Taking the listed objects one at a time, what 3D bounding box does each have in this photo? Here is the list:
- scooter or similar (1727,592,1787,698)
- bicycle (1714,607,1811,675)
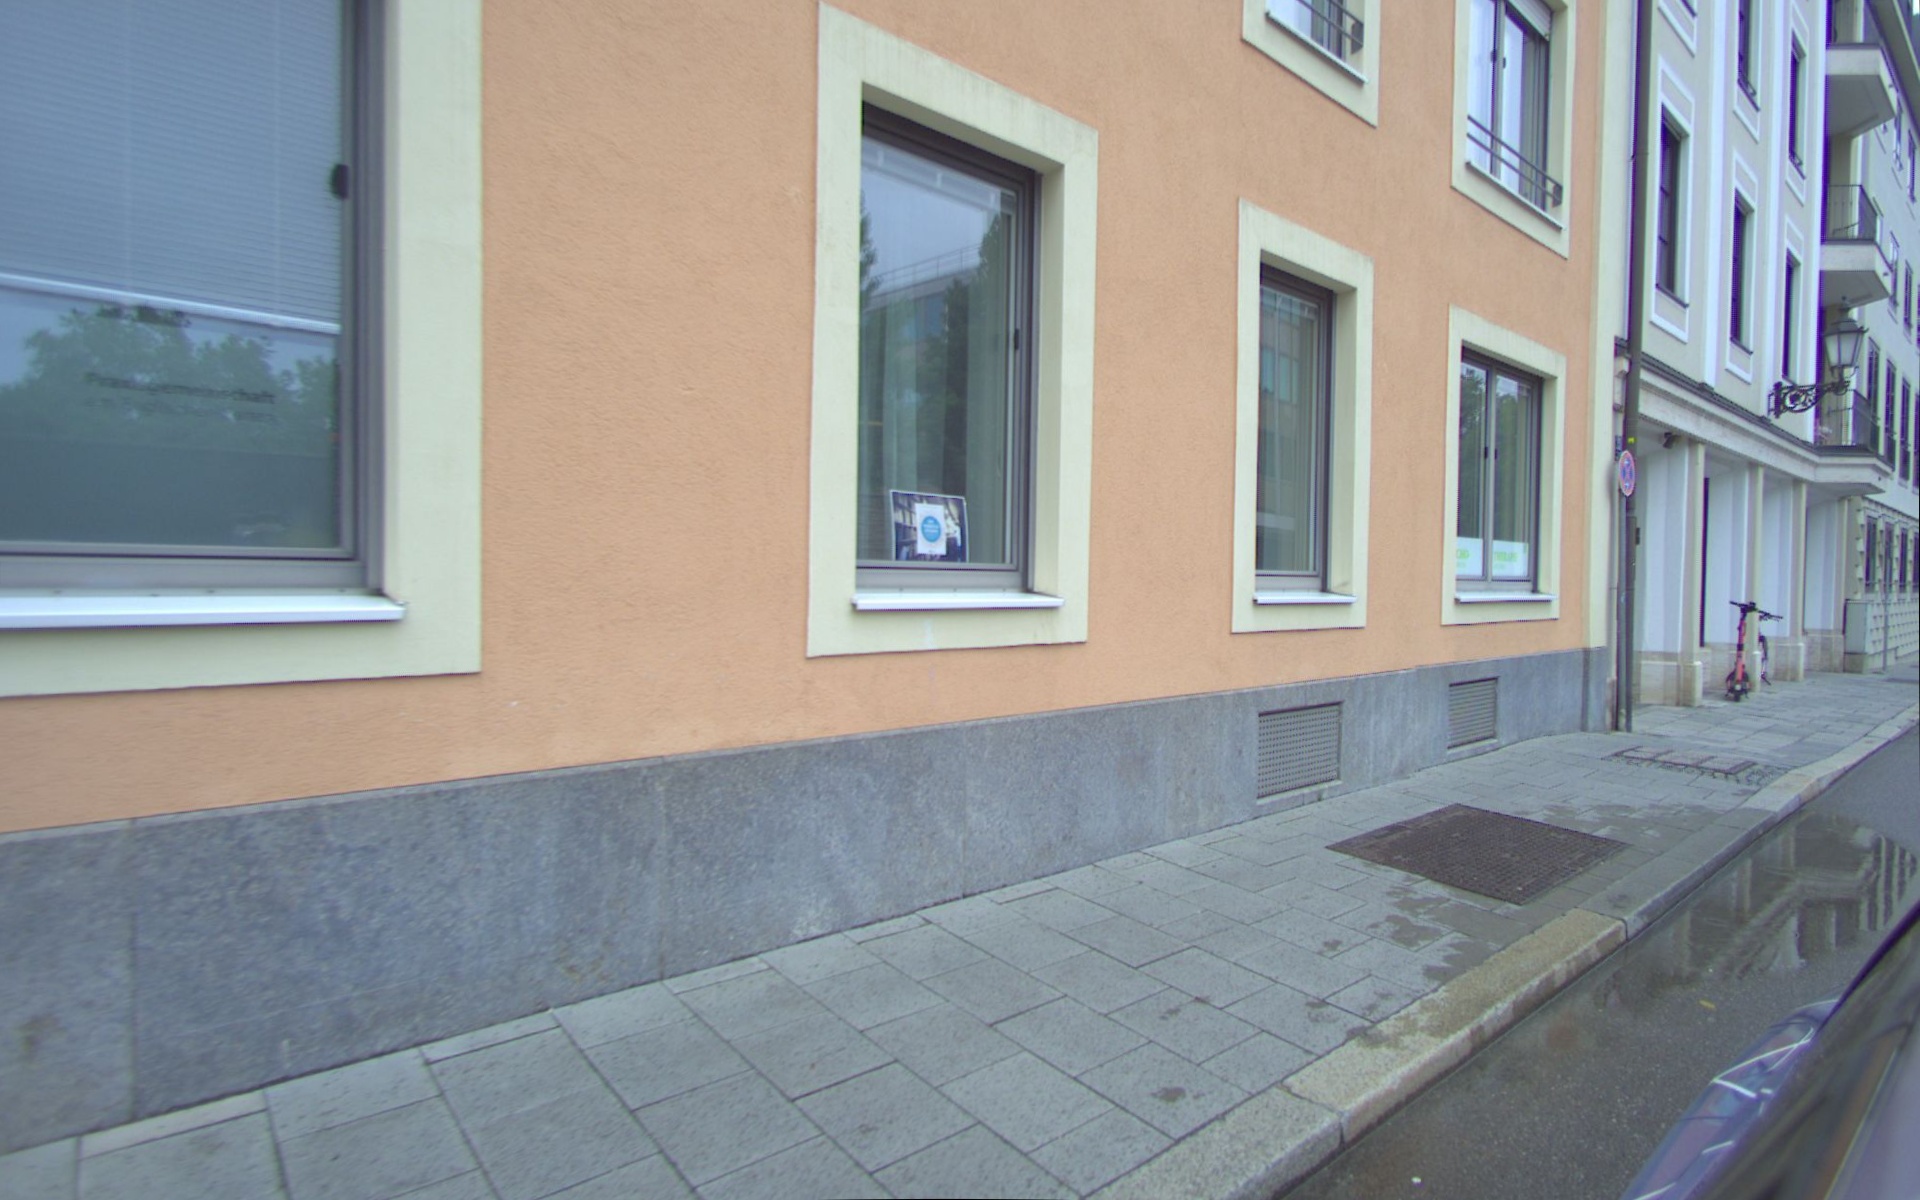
[{"bbox_3d":[10.380,0.554,13.198,0.463,1.274,1.261,4,3,35],"label":"scooter or similar"},{"bbox_3d":[12.574,0.644,15.840,2.037,1.006,0.466,2,1,-31],"label":"bicycle"}]
